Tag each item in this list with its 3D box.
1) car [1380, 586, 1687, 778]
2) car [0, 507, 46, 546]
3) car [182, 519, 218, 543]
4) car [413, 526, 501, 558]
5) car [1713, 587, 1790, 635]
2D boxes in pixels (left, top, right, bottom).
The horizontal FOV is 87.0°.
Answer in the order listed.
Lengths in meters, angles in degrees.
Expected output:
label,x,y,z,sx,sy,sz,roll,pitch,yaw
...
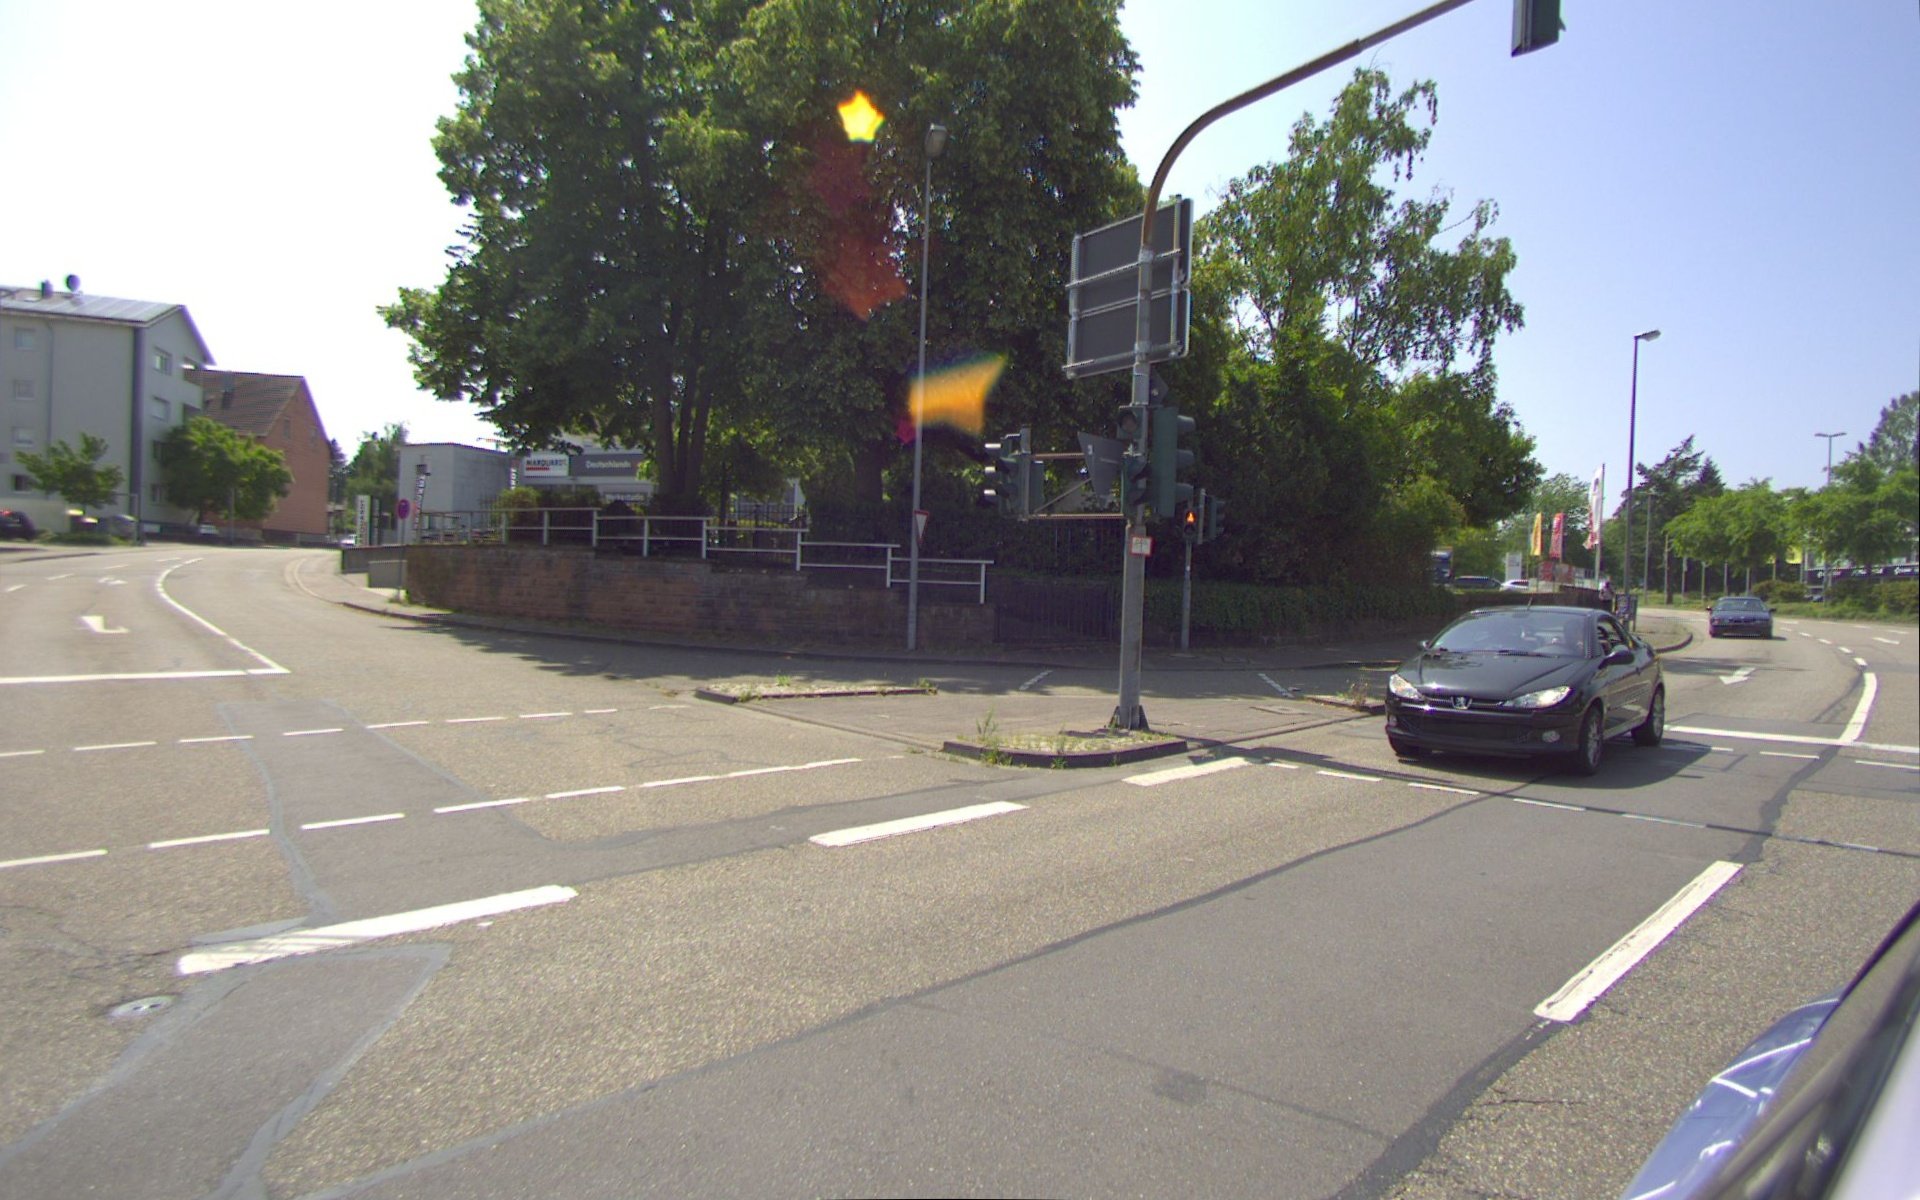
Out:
label,x,y,z,sx,sy,sz,roll,pitch,yaw
car,5.551,0.627,9.613,3.601,1.443,1.601,0,1,-45
car,-46.131,-3.524,48.909,3.967,1.683,1.859,0,1,31
car,-56.850,-5.162,75.765,1.689,1.528,3.956,-1,1,-30
car,-27.792,-3.217,55.925,4.123,1.474,1.988,4,2,18
car,26.639,0.329,34.166,1.687,1.390,3.953,2,3,33
